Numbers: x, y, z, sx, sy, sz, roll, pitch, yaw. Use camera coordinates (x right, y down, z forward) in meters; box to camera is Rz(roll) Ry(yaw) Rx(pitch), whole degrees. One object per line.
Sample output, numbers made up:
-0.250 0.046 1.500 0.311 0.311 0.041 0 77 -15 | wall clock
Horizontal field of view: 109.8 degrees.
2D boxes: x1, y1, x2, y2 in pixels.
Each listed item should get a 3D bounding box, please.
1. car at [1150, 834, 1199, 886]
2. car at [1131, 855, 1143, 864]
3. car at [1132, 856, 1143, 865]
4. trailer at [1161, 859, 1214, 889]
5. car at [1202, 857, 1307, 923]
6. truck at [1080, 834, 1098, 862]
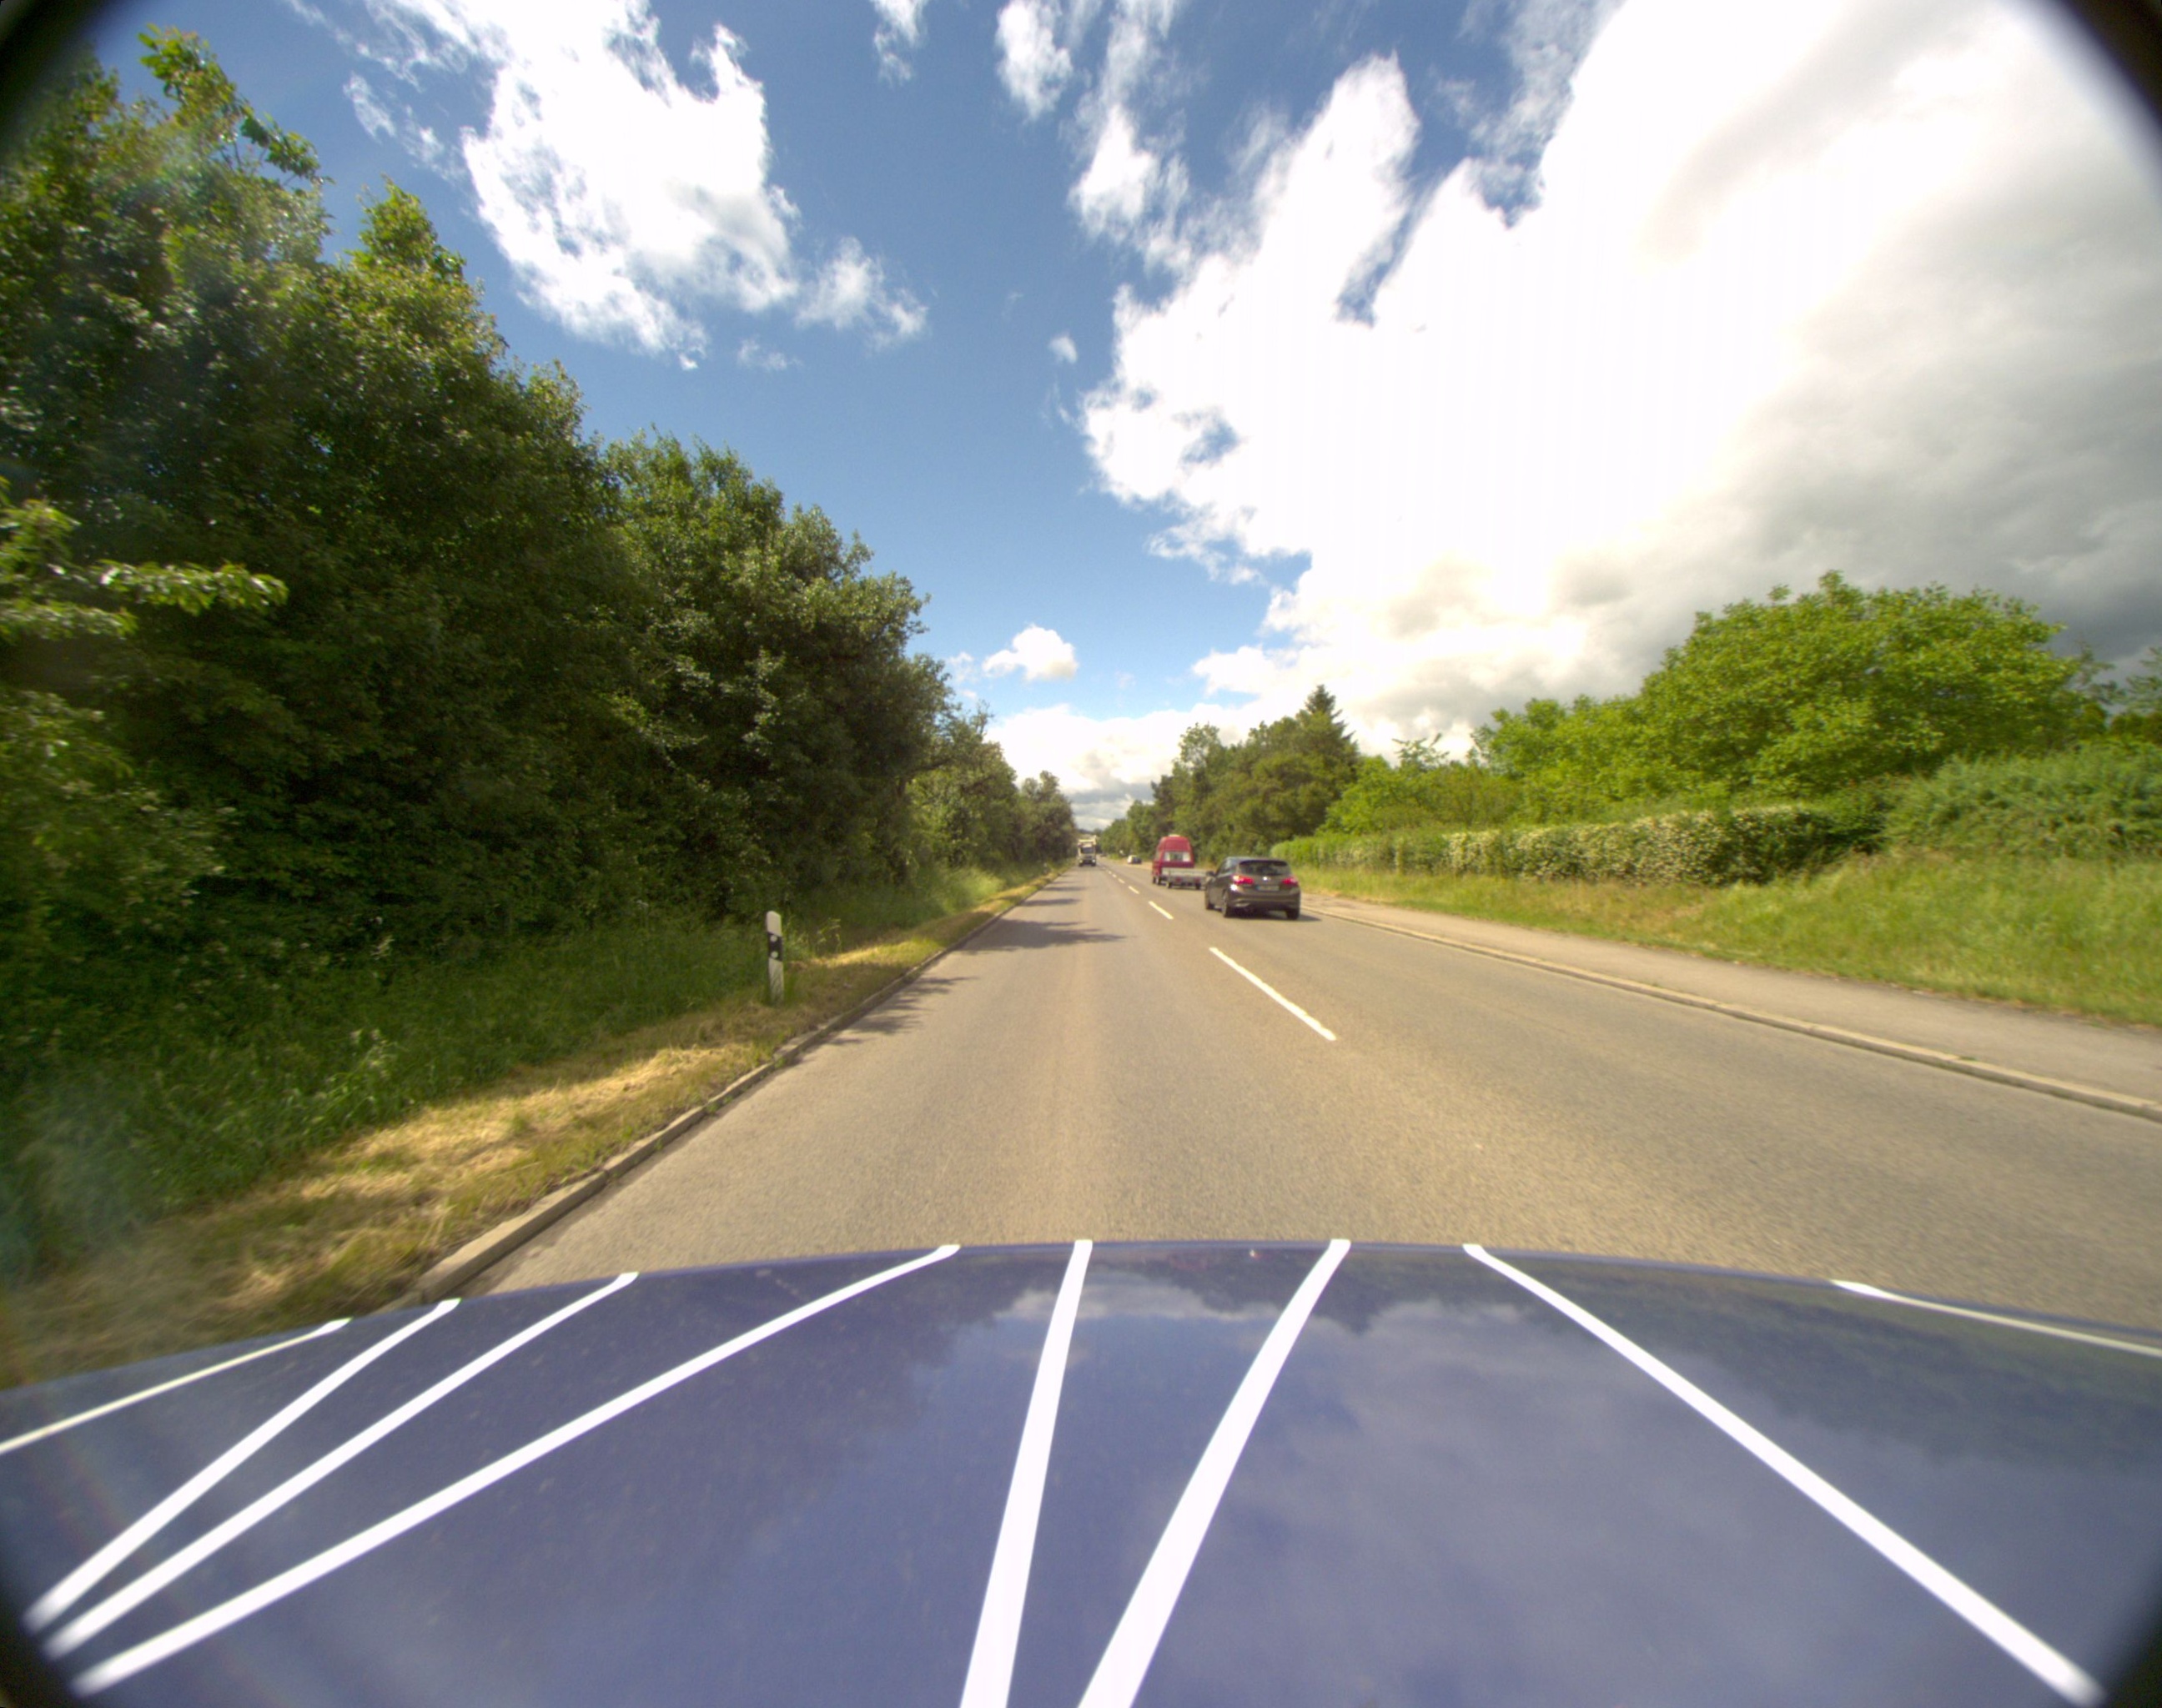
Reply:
4.849 0.283 39.926 1.974 2.535 4.724 1 0 0 | car
9.808 0.980 133.215 1.772 1.461 4.245 -3 0 -1 | car
9.366 1.014 125.941 1.772 1.399 4.266 -3 0 4 | car
4.895 0.890 35.339 1.896 1.193 3.917 1 0 0 | trailer
4.325 0.844 19.550 1.720 1.462 4.000 2 0 0 | car
1.100 -0.800 108.644 2.306 3.790 8.182 -3 0 0 | truck
